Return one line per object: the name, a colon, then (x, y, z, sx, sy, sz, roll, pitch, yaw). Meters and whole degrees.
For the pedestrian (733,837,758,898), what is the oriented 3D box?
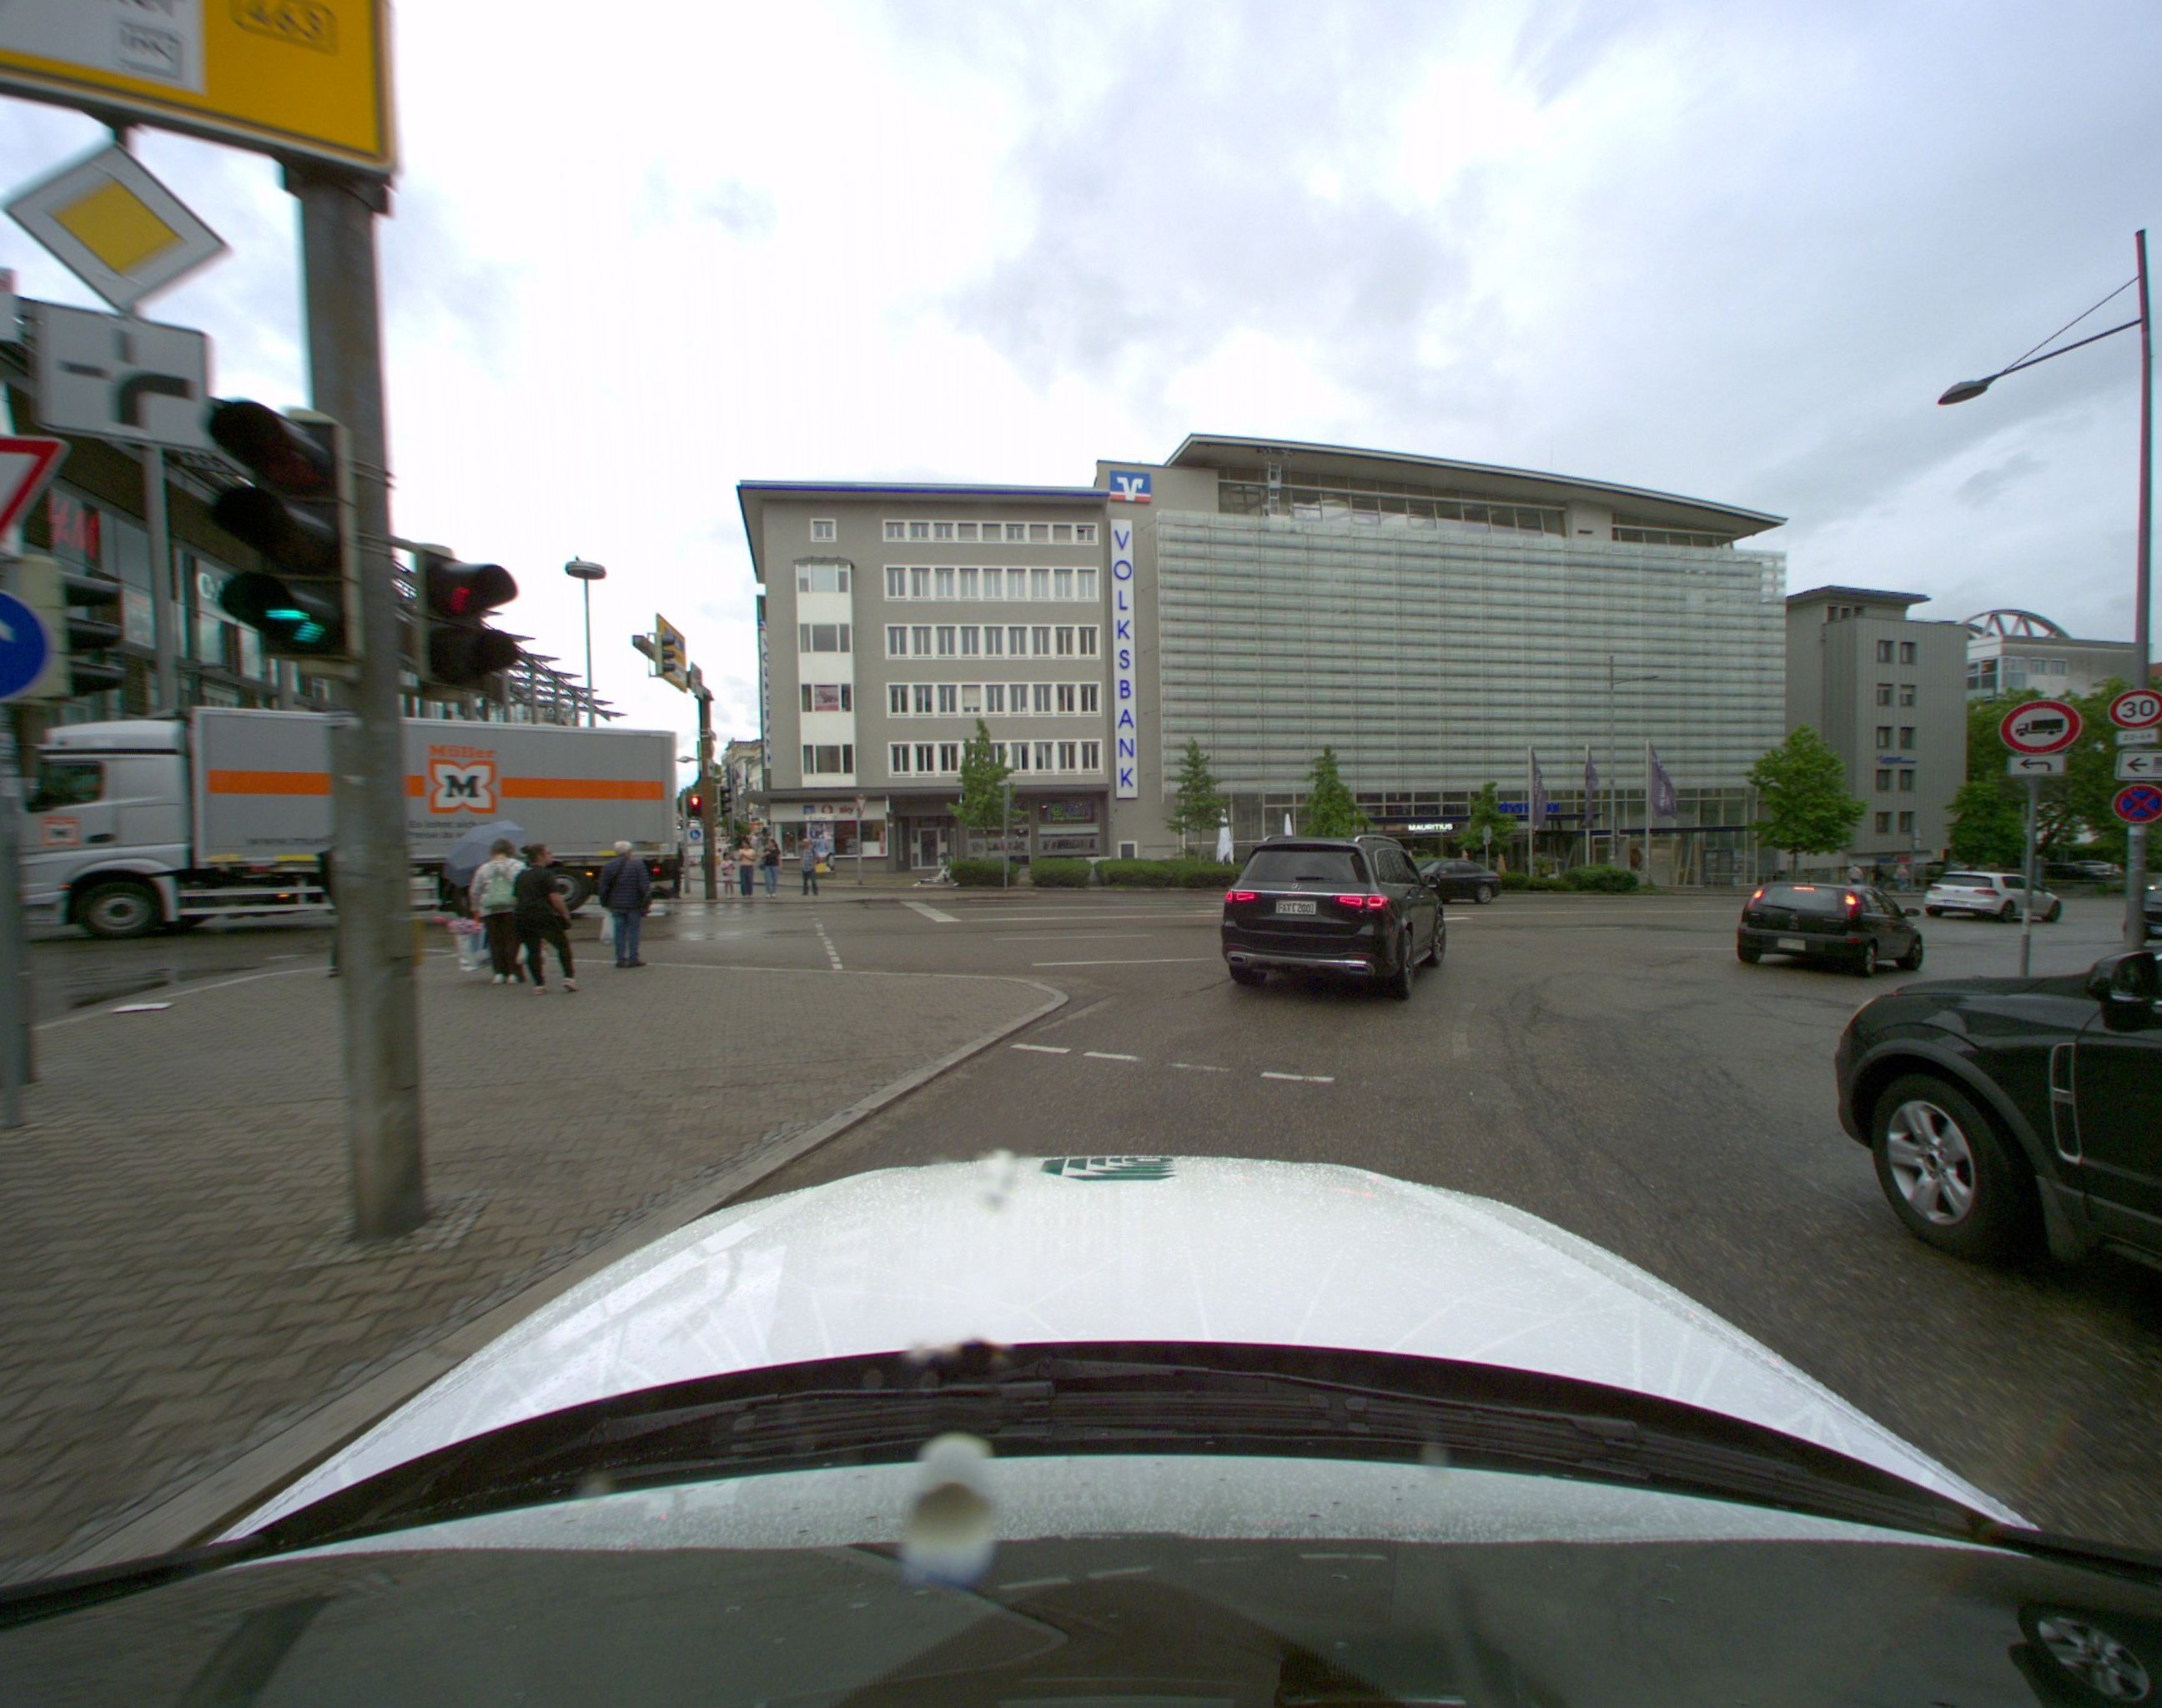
pedestrian: (-9.341, 0.374, 22.703, 0.570, 1.668, 0.499, 0, 0, -16)

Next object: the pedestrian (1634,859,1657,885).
pedestrian: (31.736, 1.011, 45.805, 0.843, 1.456, 0.651, 1, 0, -13)

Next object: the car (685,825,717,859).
car: (-34.486, -1.063, 74.051, 2.456, 2.957, 6.104, 0, 0, -24)

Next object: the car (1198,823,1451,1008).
car: (3.430, 0.606, 10.658, 2.068, 1.817, 4.822, 2, 0, 30)

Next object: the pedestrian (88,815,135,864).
pedestrian: (-40.175, -0.608, 33.766, 0.884, 1.980, 0.967, 0, 0, -23)

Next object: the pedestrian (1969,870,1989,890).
pedestrian: (77.876, 2.243, 70.635, 0.948, 1.722, 0.758, 1, 0, -7)

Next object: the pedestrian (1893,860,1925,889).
pedestrian: (51.269, 1.254, 50.439, 1.087, 1.722, 0.972, 1, 0, -13)

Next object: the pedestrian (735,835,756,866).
pedestrian: (-19.683, -0.218, 47.765, 1.028, 1.775, 0.792, 0, 0, -28)

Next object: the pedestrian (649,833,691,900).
pedestrian: (-11.295, 0.338, 22.368, 1.016, 1.787, 0.845, 0, 0, -29)

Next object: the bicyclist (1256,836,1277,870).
bicyclist: (9.610, -0.054, 42.180, 0.844, 1.704, 0.621, -1, 0, -8)

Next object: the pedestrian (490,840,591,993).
pedestrian: (-5.510, 0.617, 8.337, 0.706, 1.488, 0.557, 1, -1, -18)

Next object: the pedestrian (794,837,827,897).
pedestrian: (-8.113, 0.380, 24.415, 0.834, 1.778, 0.612, 1, 0, -28)

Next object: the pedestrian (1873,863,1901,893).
pedestrian: (46.682, 1.364, 47.167, 1.316, 1.713, 0.811, 0, 0, -27)

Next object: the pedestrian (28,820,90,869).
pedestrian: (-36.522, -0.336, 29.121, 1.044, 1.713, 0.999, 0, 0, -28)

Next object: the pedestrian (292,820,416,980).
pedestrian: (-8.123, 0.493, 9.140, 0.786, 1.711, 0.703, 1, -1, -18)

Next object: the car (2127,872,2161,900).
car: (61.674, 1.784, 46.028, 1.823, 1.552, 4.119, 0, -1, 32)

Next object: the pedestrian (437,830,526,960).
pedestrian: (-8.101, 0.543, 11.046, 0.758, 1.692, 0.689, 1, -1, -18)

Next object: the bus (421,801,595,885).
bus: (-28.073, -0.487, 41.272, 2.931, 3.320, 18.345, 0, 0, -22)

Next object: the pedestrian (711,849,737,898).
pedestrian: (-9.883, 0.531, 22.539, 0.633, 1.339, 0.582, 1, 0, -28)

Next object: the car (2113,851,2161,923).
car: (26.011, 0.771, 18.654, 4.004, 1.573, 1.942, 0, 2, -23)

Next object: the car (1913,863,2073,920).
car: (28.271, 1.114, 25.266, 4.000, 1.573, 1.943, 0, 2, -20)

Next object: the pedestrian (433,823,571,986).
pedestrian: (-6.320, 0.518, 8.961, 0.980, 1.672, 0.910, 1, 0, -17)

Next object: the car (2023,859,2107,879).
car: (89.068, 1.307, 73.772, 1.949, 1.482, 4.562, 1, 3, -32)

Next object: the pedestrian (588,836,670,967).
pedestrian: (-5.669, 0.576, 10.261, 0.715, 1.568, 0.849, 1, -1, -18)

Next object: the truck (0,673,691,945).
truck: (-13.840, -0.779, 16.336, 10.796, 4.333, 2.830, -1, 1, -28)

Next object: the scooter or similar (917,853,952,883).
scooter or similar: (-6.142, 0.581, 34.184, 1.376, 1.187, 0.543, -1, 1, -3)

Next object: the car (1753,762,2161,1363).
car: (4.111, 0.636, 1.888, 1.897, 1.785, 4.310, 0, 1, 7)

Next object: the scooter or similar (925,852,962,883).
scooter or similar: (-6.057, 0.594, 35.906, 1.493, 1.256, 0.930, 0, 4, -3)

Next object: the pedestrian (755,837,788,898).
pedestrian: (-8.715, 0.374, 22.938, 0.782, 1.689, 0.636, 1, 0, -14)

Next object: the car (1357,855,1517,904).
car: (11.308, 0.786, 25.854, 4.636, 1.425, 1.986, 1, 0, -22)

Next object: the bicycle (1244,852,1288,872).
bicycle: (9.591, 0.422, 42.170, 2.136, 0.993, 0.692, -1, 0, -9)

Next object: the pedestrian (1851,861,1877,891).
pedestrian: (46.562, 1.284, 48.440, 1.043, 1.722, 0.985, 0, 0, -38)

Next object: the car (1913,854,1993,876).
car: (85.624, 1.065, 80.020, 2.007, 1.758, 5.039, 1, 3, -32)

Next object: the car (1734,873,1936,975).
car: (12.687, 1.096, 13.653, 3.785, 1.420, 1.704, 2, 0, -35)
